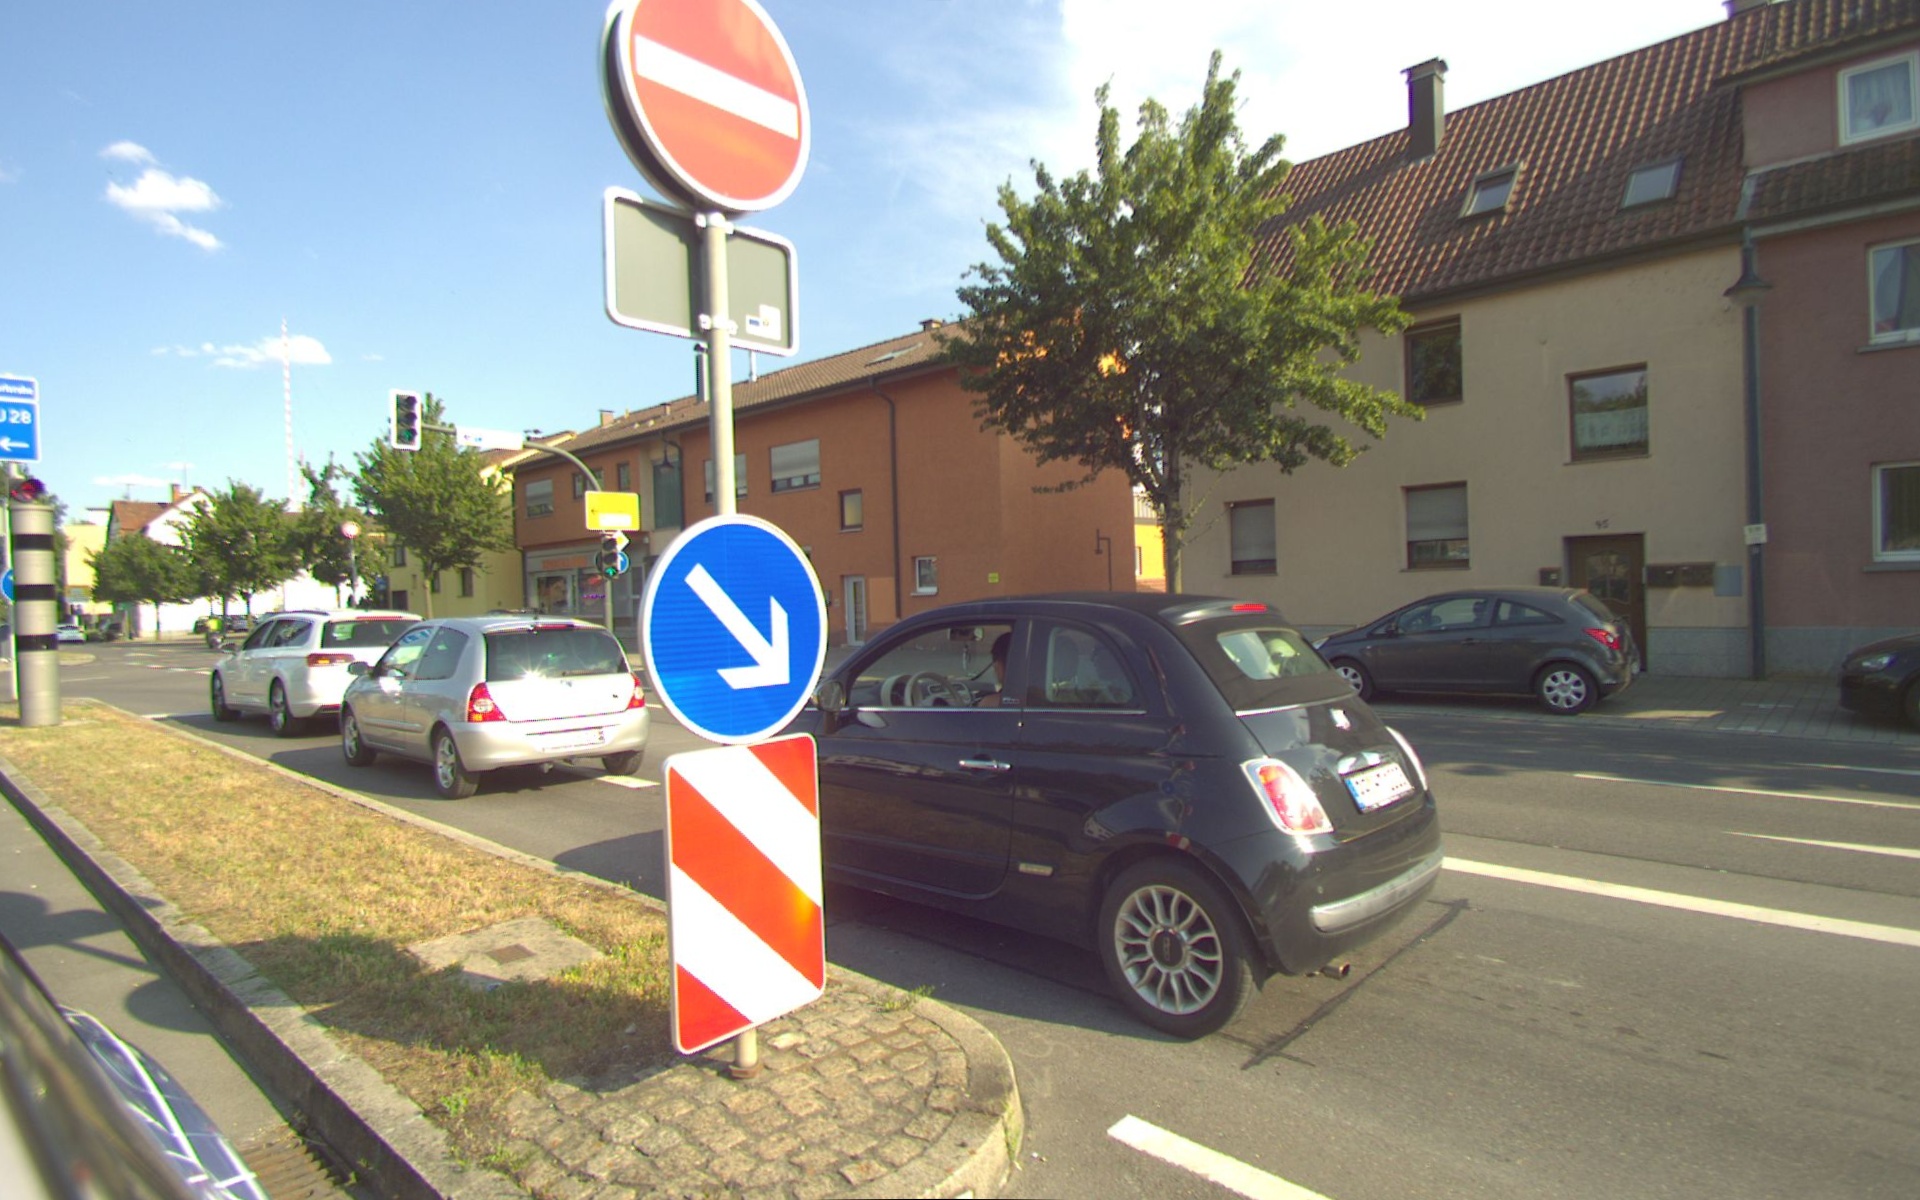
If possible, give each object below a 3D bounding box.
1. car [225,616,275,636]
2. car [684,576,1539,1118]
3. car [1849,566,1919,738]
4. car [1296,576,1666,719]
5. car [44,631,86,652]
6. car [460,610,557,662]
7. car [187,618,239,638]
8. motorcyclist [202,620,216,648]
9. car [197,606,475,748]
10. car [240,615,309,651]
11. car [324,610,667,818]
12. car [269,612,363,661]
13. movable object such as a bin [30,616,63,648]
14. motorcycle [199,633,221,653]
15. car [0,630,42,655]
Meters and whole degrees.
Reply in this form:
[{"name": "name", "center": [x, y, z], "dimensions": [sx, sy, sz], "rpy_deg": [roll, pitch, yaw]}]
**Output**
[{"name": "car", "center": [-58.107, 2.106, 82.900], "dimensions": [1.600, 1.555, 3.429], "rpy_deg": [-2, -1, 2]}, {"name": "car", "center": [0.404, 0.709, 4.514], "dimensions": [3.506, 1.473, 1.515], "rpy_deg": [-2, -1, 43]}, {"name": "car", "center": [10.540, 0.438, 8.948], "dimensions": [1.647, 1.543, 3.905], "rpy_deg": [-4, 2, -45]}, {"name": "car", "center": [6.466, 0.554, 12.801], "dimensions": [3.883, 1.522, 1.496], "rpy_deg": [-2, 1, 41]}, {"name": "car", "center": [-64.270, 2.984, 72.632], "dimensions": [3.998, 1.422, 1.739], "rpy_deg": [-2, -1, 41]}, {"name": "car", "center": [-14.802, 1.164, 33.073], "dimensions": [1.574, 1.449, 3.777], "rpy_deg": [-7, 3, -44]}, {"name": "car", "center": [-62.805, 2.330, 85.152], "dimensions": [1.836, 1.638, 3.410], "rpy_deg": [0, -2, 0]}, {"name": "motorcyclist", "center": [-33.756, 1.509, 45.487], "dimensions": [0.461, 1.238, 0.399], "rpy_deg": [-2, -1, 39]}, {"name": "car", "center": [-8.194, 0.892, 13.101], "dimensions": [4.564, 1.500, 1.816], "rpy_deg": [-2, -1, 42]}, {"name": "car", "center": [-33.053, 1.596, 48.763], "dimensions": [4.461, 1.607, 1.834], "rpy_deg": [-2, -1, 44]}, {"name": "car", "center": [-4.228, 0.836, 8.963], "dimensions": [3.579, 1.438, 1.571], "rpy_deg": [-1, 0, 44]}, {"name": "car", "center": [-22.983, 1.273, 36.046], "dimensions": [4.411, 1.624, 1.668], "rpy_deg": [-2, -1, 42]}, {"name": "movable object such as a bin", "center": [-74.194, 2.581, 82.151], "dimensions": [4.977, 2.480, 1.536], "rpy_deg": [-2, -2, 43]}, {"name": "motorcycle", "center": [-33.690, 1.916, 45.442], "dimensions": [1.762, 0.867, 0.408], "rpy_deg": [-2, -1, 40]}, {"name": "car", "center": [-58.789, 2.637, 63.151], "dimensions": [3.998, 1.422, 1.739], "rpy_deg": [-2, -1, 41]}]
